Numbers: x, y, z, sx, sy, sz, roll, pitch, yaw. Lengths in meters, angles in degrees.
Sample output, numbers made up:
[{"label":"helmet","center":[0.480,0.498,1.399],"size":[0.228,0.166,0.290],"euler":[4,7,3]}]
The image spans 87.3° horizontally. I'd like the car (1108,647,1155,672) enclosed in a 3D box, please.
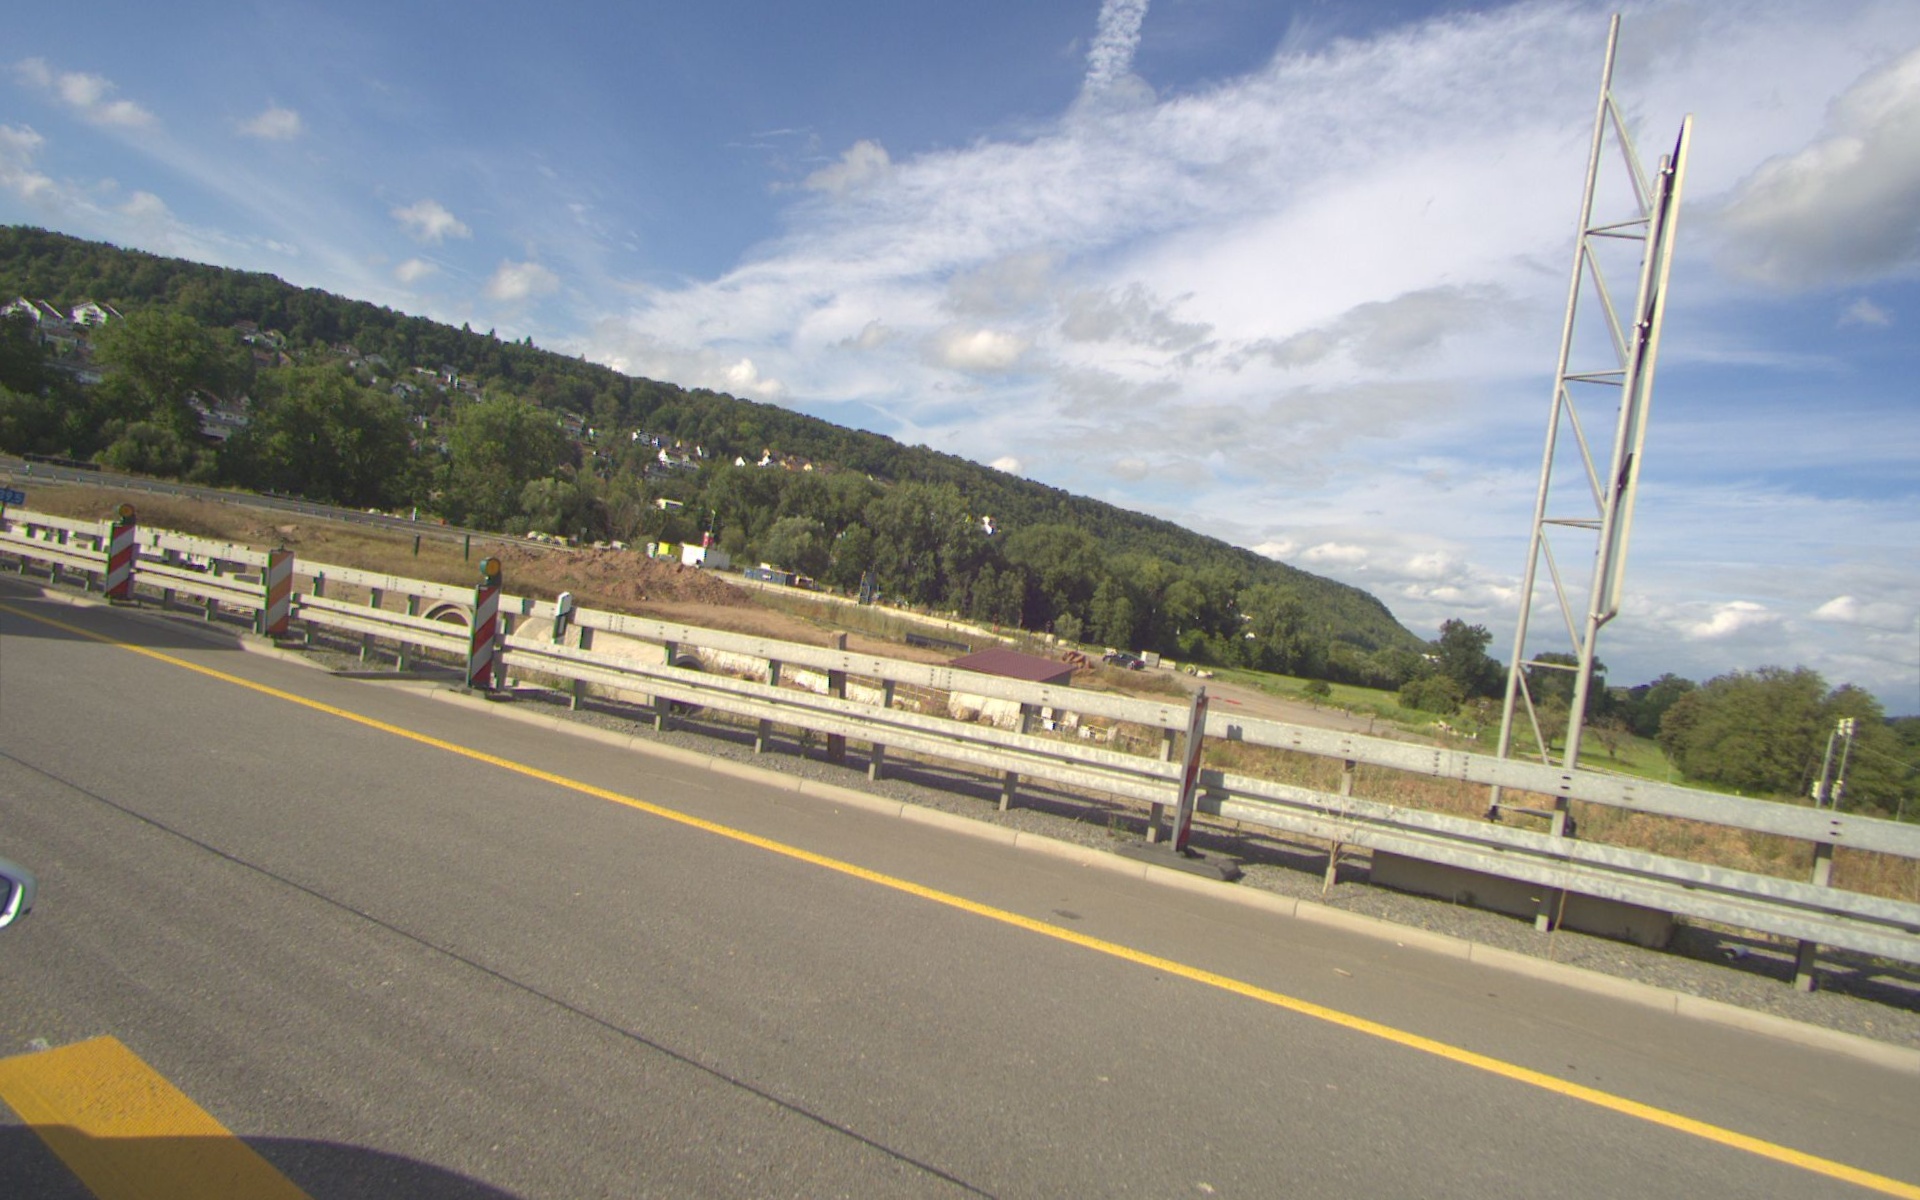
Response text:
[{"label":"car","center":[16.789,5.798,98.718],"size":[3.940,1.819,1.989],"euler":[7,5,38]}]
